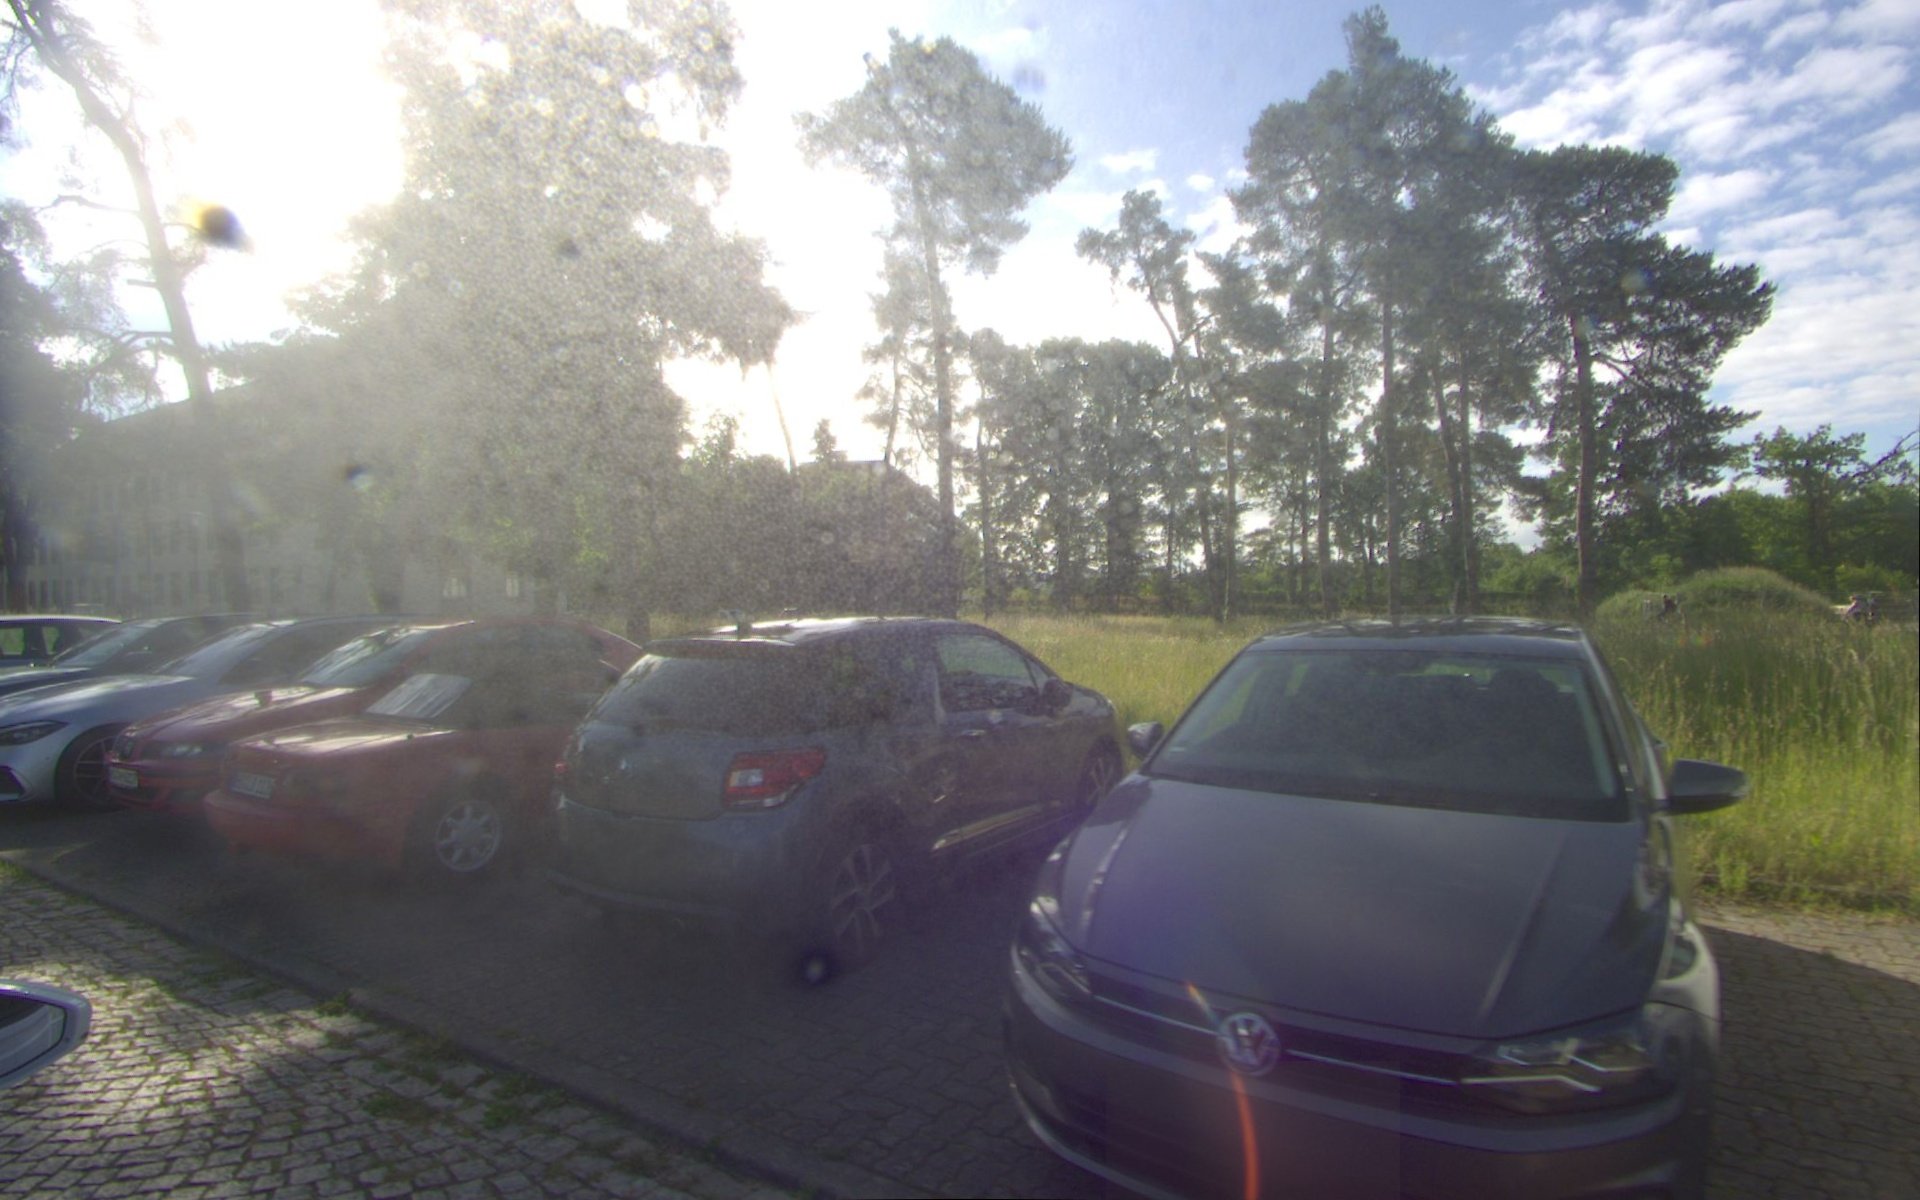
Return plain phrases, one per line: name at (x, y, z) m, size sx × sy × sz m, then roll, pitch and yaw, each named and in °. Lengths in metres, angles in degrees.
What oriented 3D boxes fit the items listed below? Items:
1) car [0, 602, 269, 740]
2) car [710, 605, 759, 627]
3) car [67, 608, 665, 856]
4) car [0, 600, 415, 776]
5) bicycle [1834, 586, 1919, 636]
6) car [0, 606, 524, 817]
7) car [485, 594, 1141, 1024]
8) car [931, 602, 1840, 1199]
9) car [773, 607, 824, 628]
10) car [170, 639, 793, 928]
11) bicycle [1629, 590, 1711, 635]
car at (-10.921, 0.808, 12.266) m, size 1.641 × 1.463 × 3.664 m, roll 0°, pitch 1°, yaw 32°
car at (-17.870, 1.278, 79.471) m, size 1.743 × 1.693 × 3.625 m, roll 0°, pitch 0°, yaw 35°
car at (-4.555, 0.836, 8.320) m, size 1.631 × 1.468 × 3.971 m, roll 0°, pitch 1°, yaw 32°
car at (-8.776, 0.819, 10.987) m, size 1.842 × 1.475 × 4.610 m, roll 0°, pitch 2°, yaw 30°
bicycle at (39.927, 0.486, 43.265) m, size 3.086 × 2.040 × 0.949 m, roll -2°, pitch -1°, yaw 32°
car at (-6.594, 0.817, 9.383) m, size 1.763 × 1.407 × 4.390 m, roll 0°, pitch 1°, yaw 31°
car at (-0.456, 0.757, 5.610) m, size 1.643 × 1.475 × 3.654 m, roll 0°, pitch 2°, yaw 32°
car at (1.693, 0.787, 3.624) m, size 1.733 × 1.470 × 3.770 m, roll 0°, pitch 1°, yaw 34°
car at (-12.031, 1.292, 74.819) m, size 1.743 × 1.517 × 3.625 m, roll 0°, pitch 0°, yaw 35°
car at (-2.843, 0.943, 6.622) m, size 1.515 × 1.258 × 3.453 m, roll 0°, pitch 0°, yaw 33°
bicycle at (34.002, 0.627, 48.040) m, size 3.086 × 2.040 × 0.949 m, roll -2°, pitch -1°, yaw 32°
